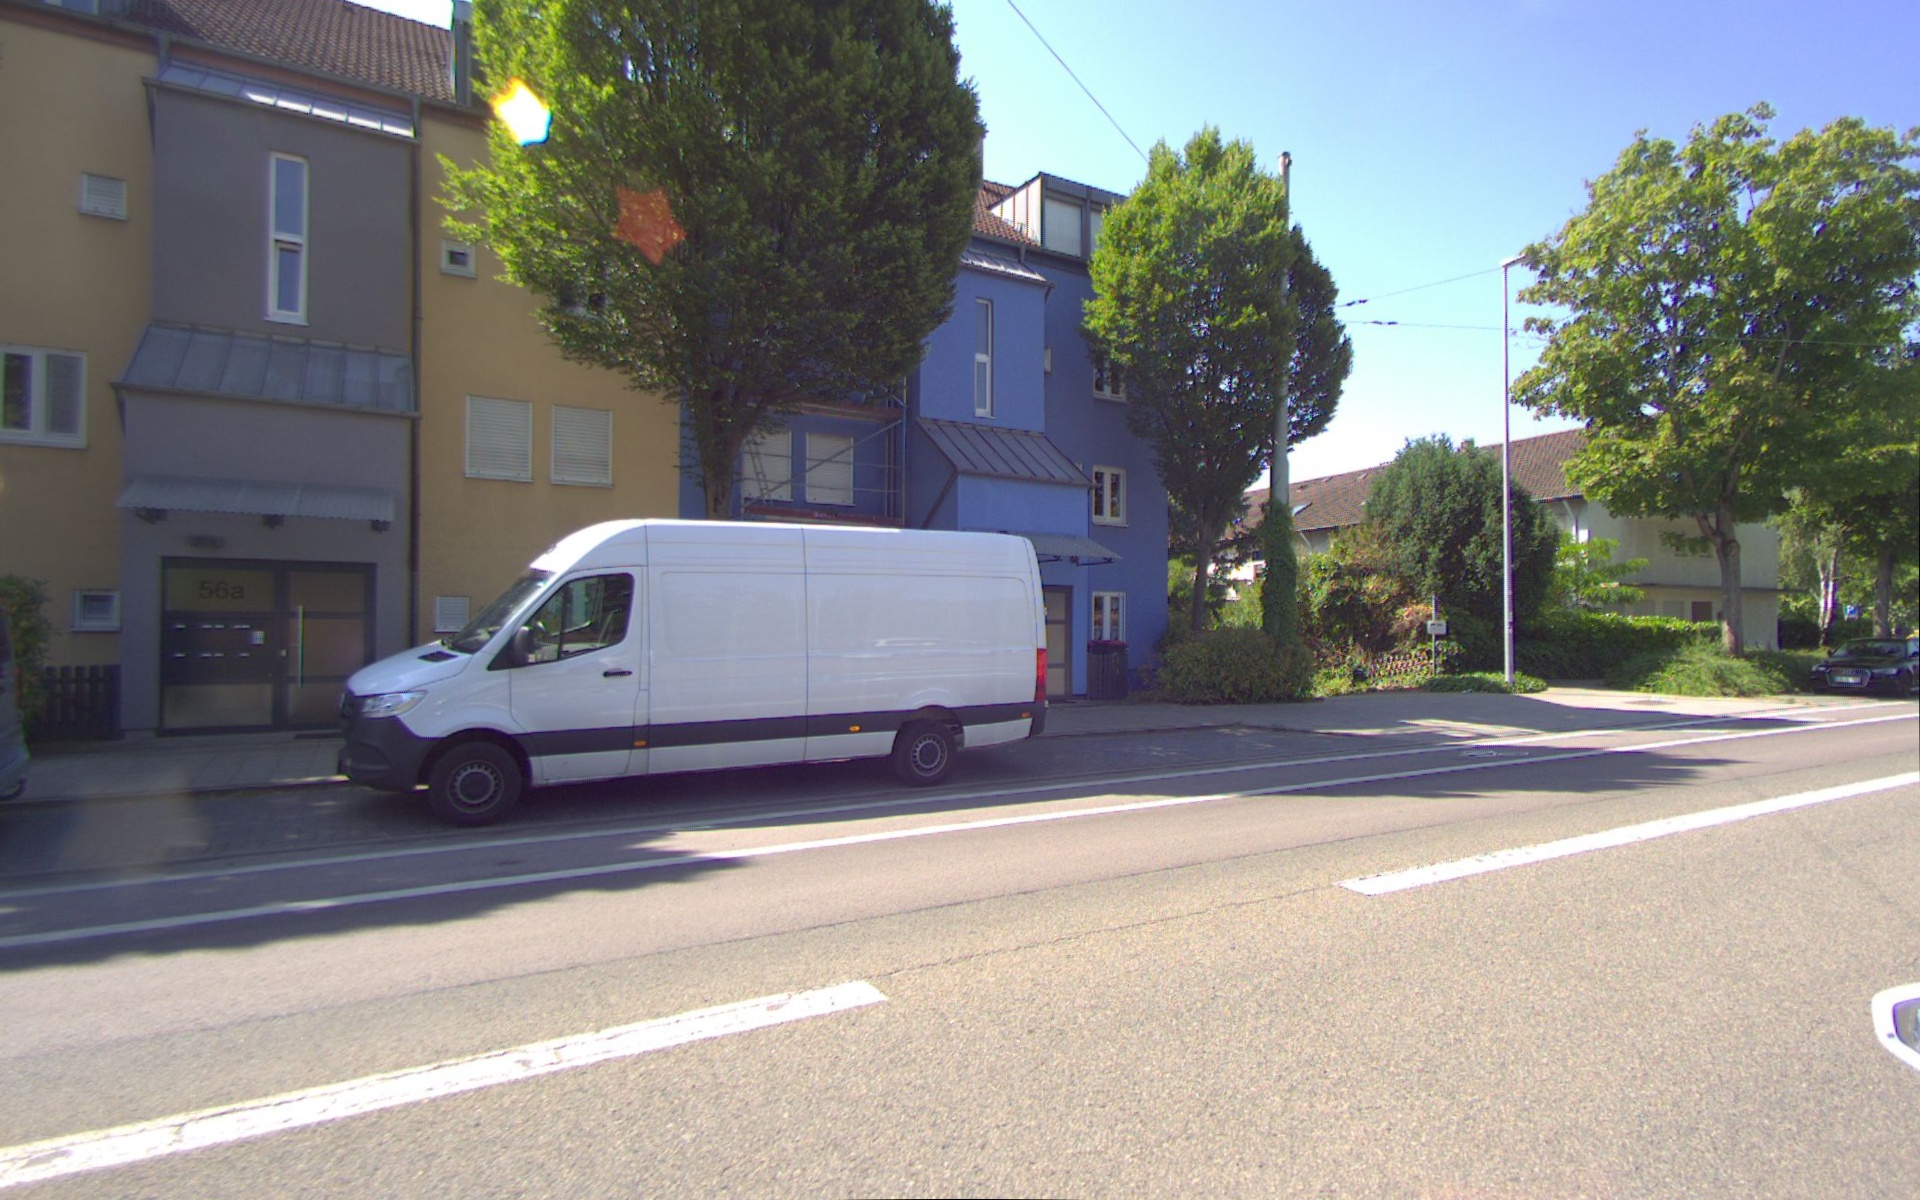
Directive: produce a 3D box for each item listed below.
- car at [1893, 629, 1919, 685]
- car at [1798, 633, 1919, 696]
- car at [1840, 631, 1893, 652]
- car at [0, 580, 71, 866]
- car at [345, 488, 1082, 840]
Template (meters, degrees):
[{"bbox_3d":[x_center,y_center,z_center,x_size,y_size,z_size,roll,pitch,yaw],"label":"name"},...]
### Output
[{"bbox_3d":[29.861,1.687,29.961,4.838,1.627,1.753,1,-1,-31],"label":"car"},{"bbox_3d":[23.954,1.624,26.302,4.860,1.485,1.828,1,-2,-34],"label":"car"},{"bbox_3d":[84.350,3.868,93.512,1.535,1.901,3.405,1,-2,-32],"label":"car"},{"bbox_3d":[-9.069,0.797,6.301,4.909,1.891,1.983,1,2,-31],"label":"car"},{"bbox_3d":[-2.179,0.528,10.371,7.002,2.713,1.984,1,2,-30],"label":"car"}]
